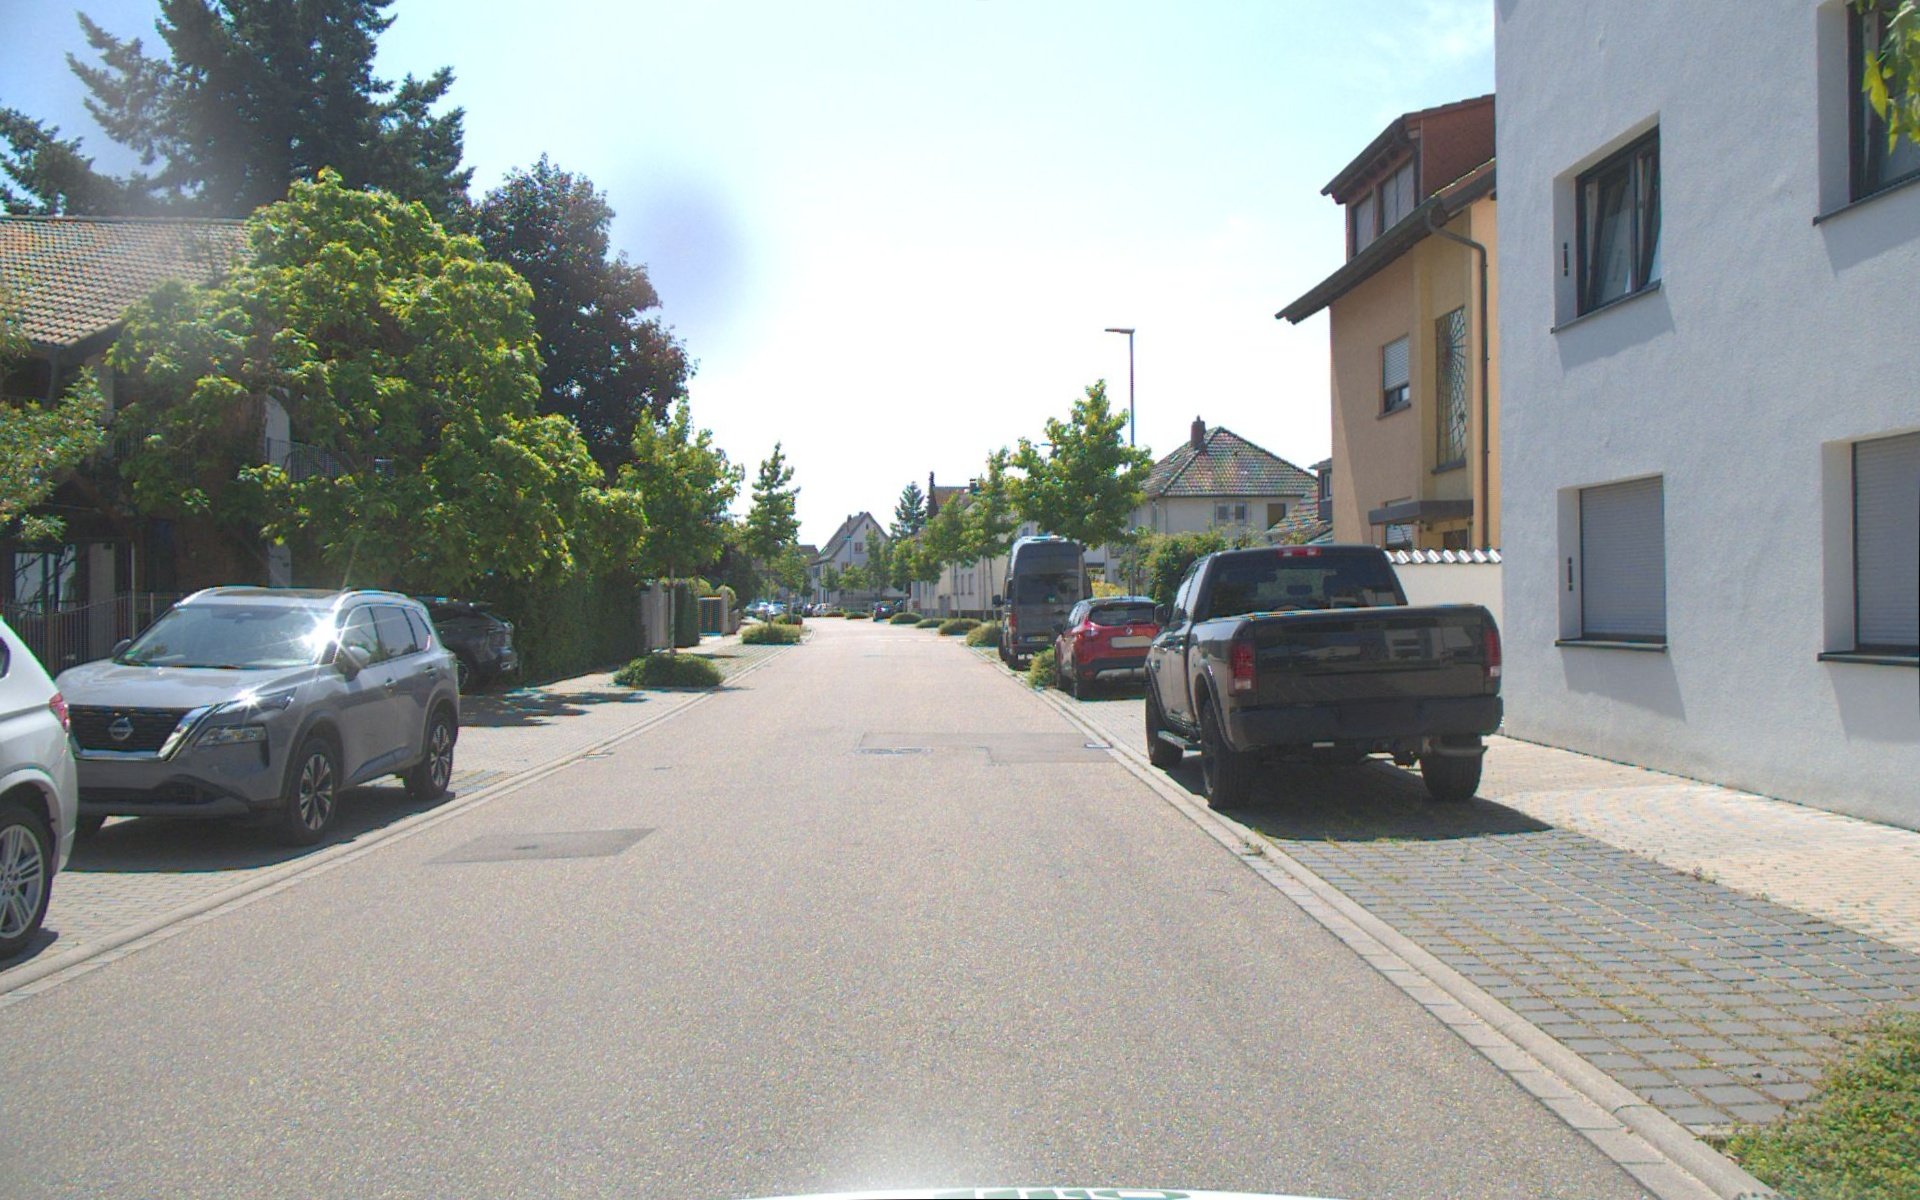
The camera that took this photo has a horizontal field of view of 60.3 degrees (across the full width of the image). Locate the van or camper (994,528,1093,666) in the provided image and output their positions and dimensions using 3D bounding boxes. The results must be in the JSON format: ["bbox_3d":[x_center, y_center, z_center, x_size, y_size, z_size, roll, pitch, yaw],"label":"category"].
[{"bbox_3d":[1.886,-0.069,38.567,1.953,2.993,3.999,-1,0,-1],"label":"van or camper"}]

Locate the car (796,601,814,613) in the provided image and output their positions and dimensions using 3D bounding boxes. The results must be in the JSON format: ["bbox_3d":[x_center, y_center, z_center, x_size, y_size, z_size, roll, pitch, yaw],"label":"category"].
[{"bbox_3d":[-18.041,0.810,192.988,1.634,1.272,3.920,-2,0,-12],"label":"car"}]

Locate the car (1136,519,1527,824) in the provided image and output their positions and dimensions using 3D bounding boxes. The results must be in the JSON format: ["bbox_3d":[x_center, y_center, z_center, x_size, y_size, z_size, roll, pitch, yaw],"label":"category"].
[{"bbox_3d":[2.793,0.477,13.807,1.953,1.981,5.213,-2,0,-1],"label":"car"}]

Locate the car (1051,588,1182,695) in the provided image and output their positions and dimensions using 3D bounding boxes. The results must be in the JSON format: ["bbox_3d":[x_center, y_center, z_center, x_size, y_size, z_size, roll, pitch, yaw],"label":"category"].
[{"bbox_3d":[2.555,0.651,27.735,1.637,1.623,3.553,-2,0,-3],"label":"car"}]

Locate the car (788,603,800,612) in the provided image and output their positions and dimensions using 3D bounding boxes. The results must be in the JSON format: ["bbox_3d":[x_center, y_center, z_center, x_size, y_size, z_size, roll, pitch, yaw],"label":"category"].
[{"bbox_3d":[-20.275,0.899,201.967,1.167,1.089,3.046,-2,0,-10],"label":"car"}]

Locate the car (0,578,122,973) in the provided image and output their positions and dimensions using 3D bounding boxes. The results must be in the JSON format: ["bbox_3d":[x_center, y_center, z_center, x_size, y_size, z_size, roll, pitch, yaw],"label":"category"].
[{"bbox_3d":[-5.110,0.788,5.979,1.888,1.716,4.497,-1,0,-1],"label":"car"}]

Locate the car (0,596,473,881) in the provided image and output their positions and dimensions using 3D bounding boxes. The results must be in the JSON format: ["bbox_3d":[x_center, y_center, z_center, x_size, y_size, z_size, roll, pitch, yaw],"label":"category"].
[{"bbox_3d":[-5.213,0.850,12.310,1.953,1.709,4.213,-1,0,-1],"label":"car"}]

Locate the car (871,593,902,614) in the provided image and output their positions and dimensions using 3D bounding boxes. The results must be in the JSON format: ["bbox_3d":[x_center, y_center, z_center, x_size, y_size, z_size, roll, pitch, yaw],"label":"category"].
[{"bbox_3d":[-5.902,0.297,132.524,1.957,1.601,3.992,-2,0,-9],"label":"car"}]
